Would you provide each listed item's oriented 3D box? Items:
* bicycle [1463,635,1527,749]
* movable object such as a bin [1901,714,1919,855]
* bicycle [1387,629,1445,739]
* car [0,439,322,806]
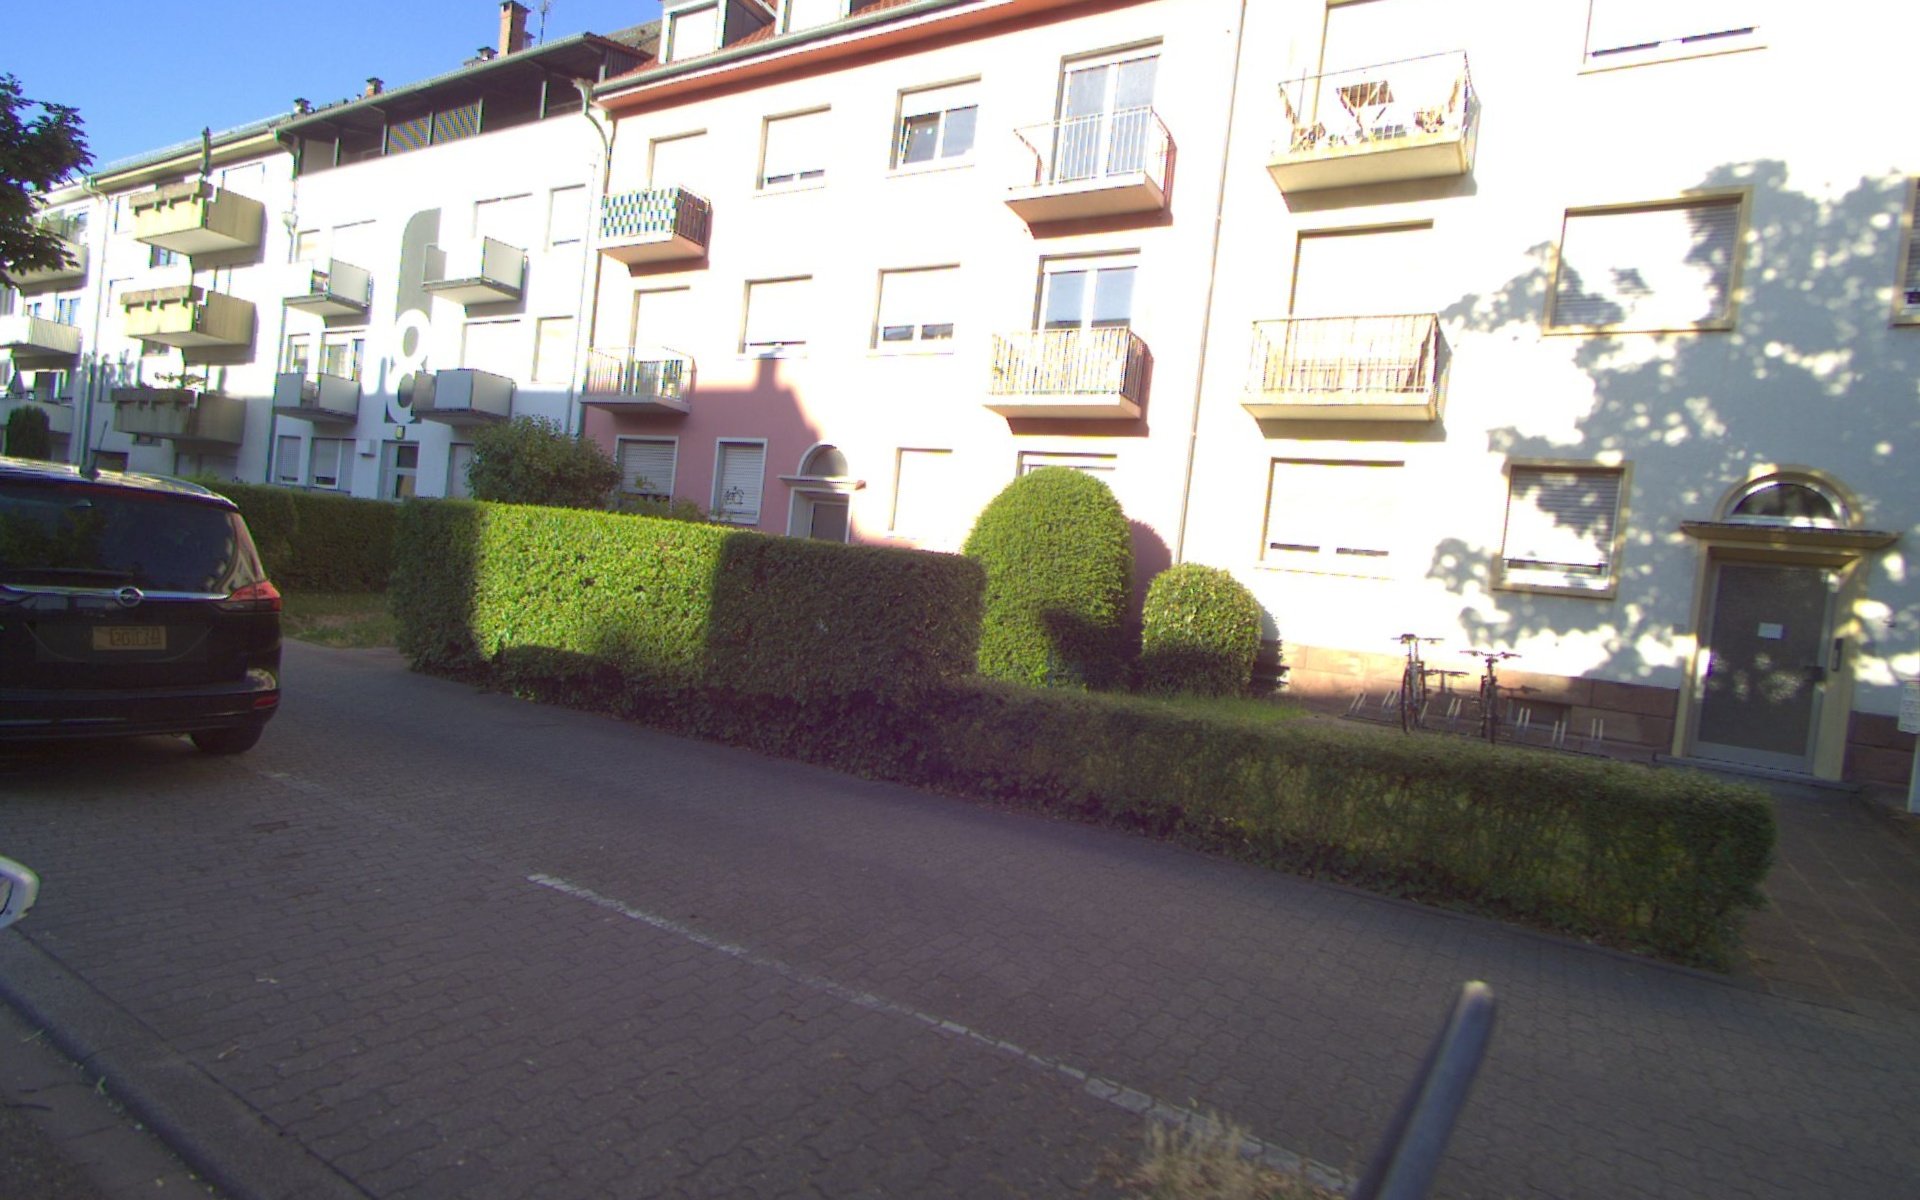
[{"bbox_3d":[5.642,0.947,10.659,0.418,1.069,1.651,7,1,26],"label":"bicycle"},{"bbox_3d":[8.333,1.565,8.153,0.814,1.137,0.553,8,2,31],"label":"movable object such as a bin"},{"bbox_3d":[4.967,0.889,10.919,0.418,1.069,1.524,7,1,26],"label":"bicycle"},{"bbox_3d":[-5.910,-0.089,6.050,4.219,1.672,1.734,7,1,31],"label":"car"}]
